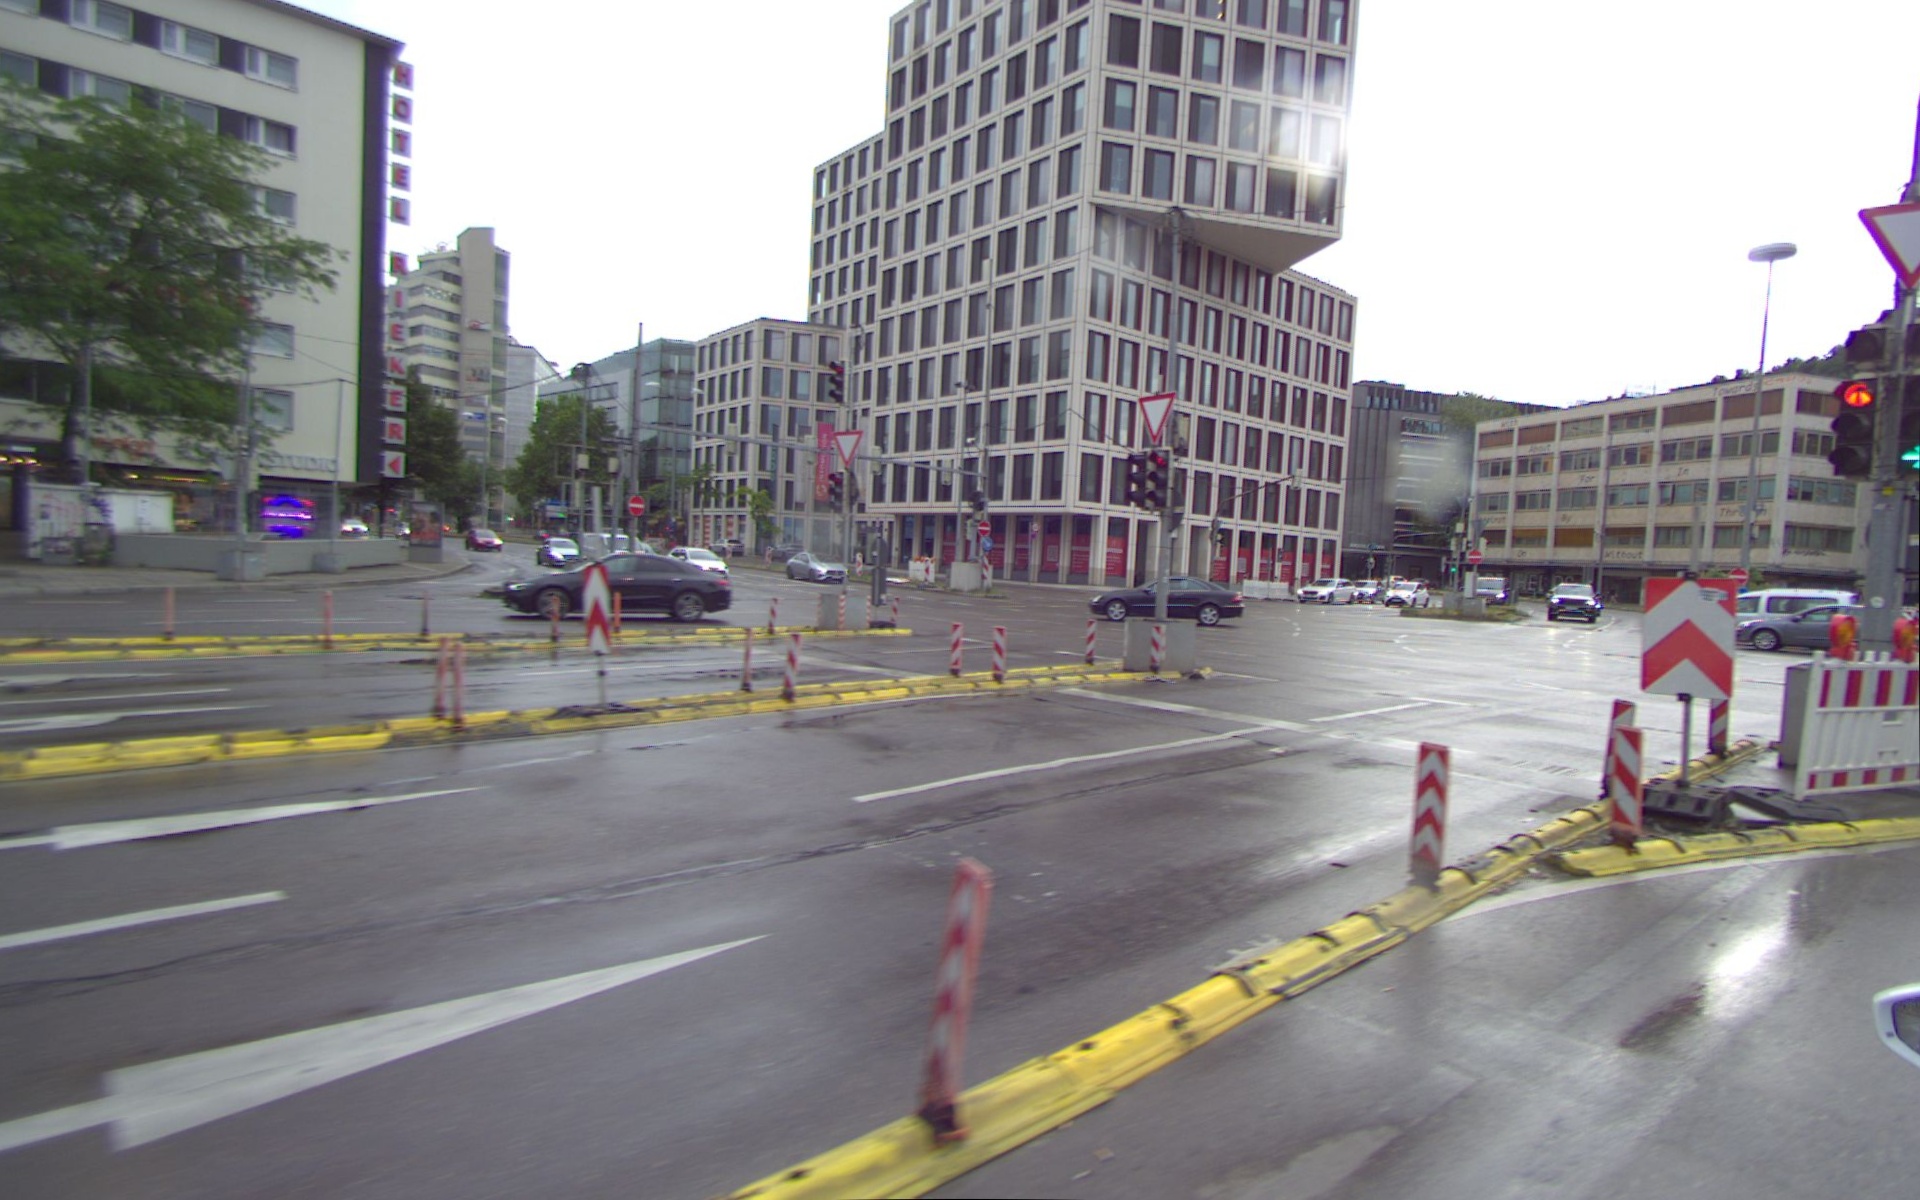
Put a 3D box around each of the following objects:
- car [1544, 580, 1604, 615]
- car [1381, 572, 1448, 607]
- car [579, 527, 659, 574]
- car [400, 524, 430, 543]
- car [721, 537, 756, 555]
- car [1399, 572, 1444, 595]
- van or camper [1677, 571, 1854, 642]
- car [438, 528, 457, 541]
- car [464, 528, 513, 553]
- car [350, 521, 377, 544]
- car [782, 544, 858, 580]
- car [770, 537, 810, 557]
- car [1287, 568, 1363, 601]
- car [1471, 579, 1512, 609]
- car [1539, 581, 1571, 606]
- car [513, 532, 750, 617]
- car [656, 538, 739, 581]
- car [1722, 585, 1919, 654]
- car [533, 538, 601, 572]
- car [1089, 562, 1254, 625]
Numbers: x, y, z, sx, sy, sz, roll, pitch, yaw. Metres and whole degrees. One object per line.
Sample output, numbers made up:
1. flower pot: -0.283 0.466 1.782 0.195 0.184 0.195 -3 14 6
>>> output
1. car: 29.210 -0.129 47.735 1.808 1.506 3.981 4 3 39
2. car: 26.167 -0.614 57.788 3.962 1.840 1.786 0 4 -37
3. car: -15.229 -2.219 44.630 2.066 1.930 5.034 0 3 -35
4. car: -46.708 -5.704 86.063 1.767 1.504 3.446 0 3 -38
5. car: -20.851 -5.052 94.291 1.848 1.543 3.961 1 3 -34
6. car: 46.126 -1.665 100.414 1.965 2.041 3.990 3 4 -12
7. van or camper: 26.166 0.147 32.718 1.838 2.005 4.201 0 4 -43
8. car: -67.203 -8.536 131.608 1.847 1.543 3.963 1 3 -32
9. car: -32.447 -4.104 69.038 2.001 1.620 4.609 0 3 -39
10. car: -55.663 -6.265 93.694 1.904 2.041 3.962 1 3 -34
11. car: -7.005 -1.894 49.800 1.996 1.620 4.621 0 3 -33
12. car: -14.349 -4.480 84.675 1.847 1.543 3.963 1 3 -32
13. car: 21.327 -0.871 58.595 4.778 1.777 2.201 0 3 -43
14. car: 30.144 -0.359 56.885 1.856 1.578 3.992 3 2 30
15. car: 42.739 -0.476 72.118 1.743 1.595 3.990 6 4 32
16. car: -7.004 -0.532 21.437 4.599 1.620 2.005 1 3 -25
17. car: -11.954 -1.870 45.588 2.000 1.762 4.613 0 3 -37
18. car: 24.684 0.496 28.860 1.838 1.620 4.127 0 4 -43
19. car: -20.521 -2.366 52.315 2.001 1.620 4.609 0 3 -39
20. car: 6.244 -0.237 29.908 4.569 1.620 2.019 3 3 11
